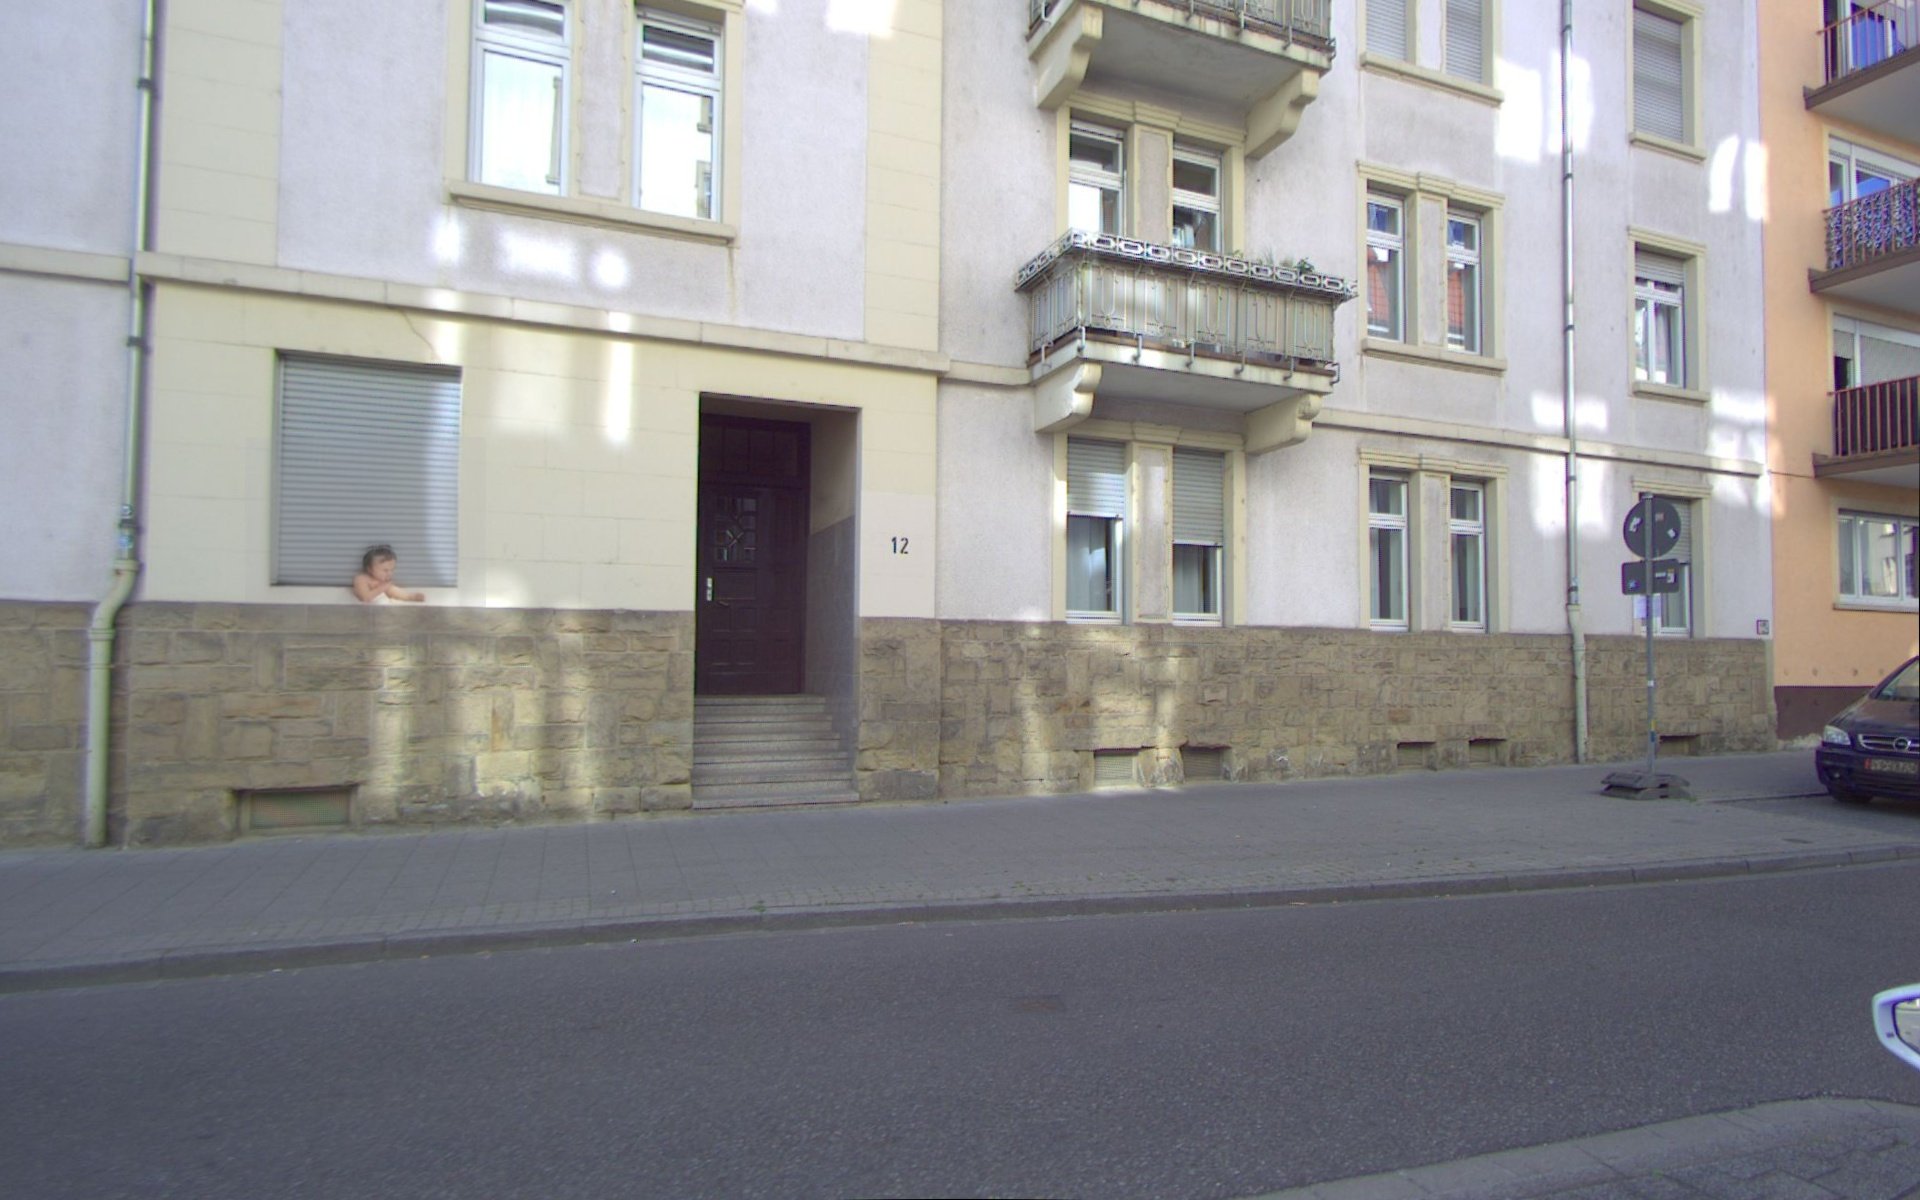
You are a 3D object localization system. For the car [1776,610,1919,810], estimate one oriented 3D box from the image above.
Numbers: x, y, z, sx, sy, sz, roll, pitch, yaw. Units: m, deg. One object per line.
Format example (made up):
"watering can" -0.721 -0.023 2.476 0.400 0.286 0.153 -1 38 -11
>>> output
"car" 10.510 1.071 10.092 4.231 1.794 1.759 2 -1 -22
